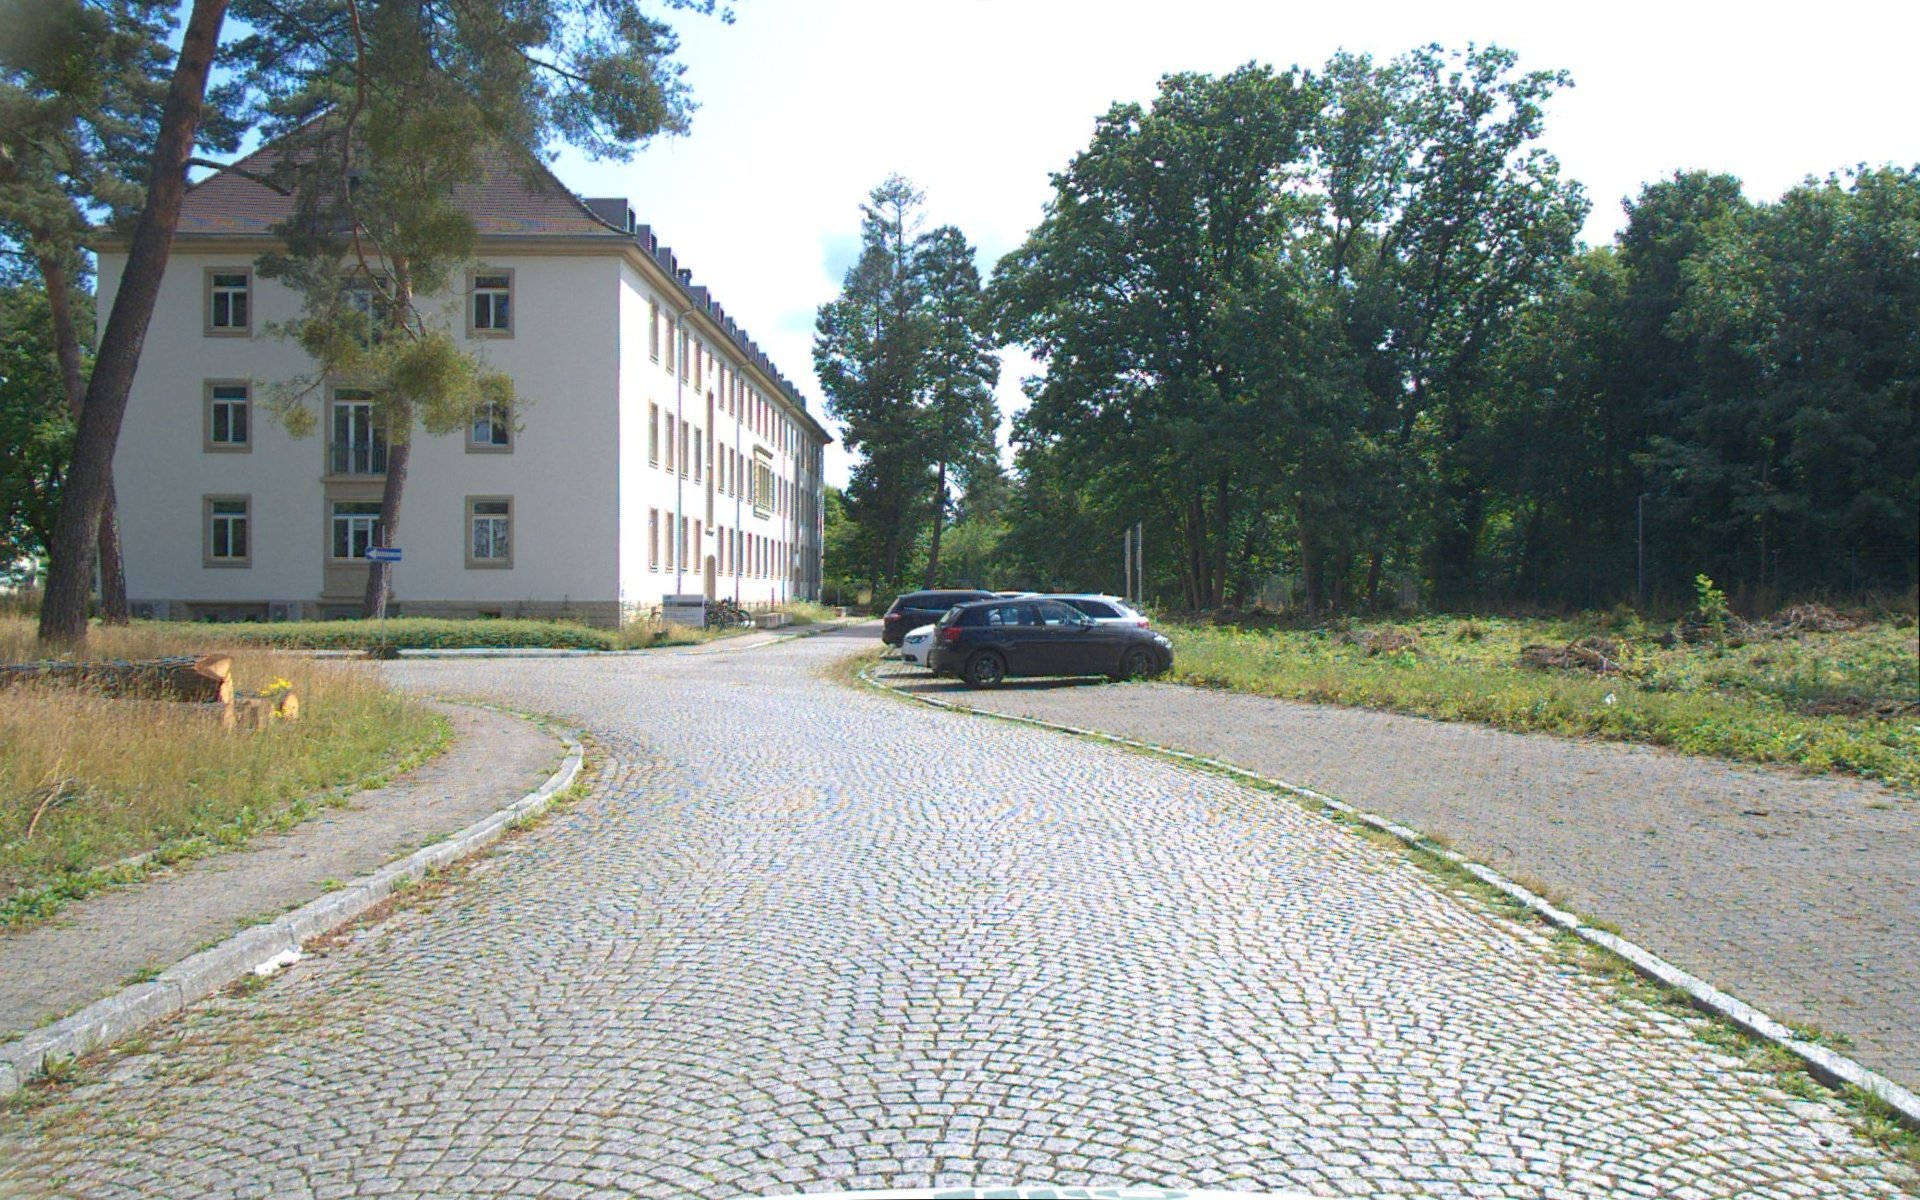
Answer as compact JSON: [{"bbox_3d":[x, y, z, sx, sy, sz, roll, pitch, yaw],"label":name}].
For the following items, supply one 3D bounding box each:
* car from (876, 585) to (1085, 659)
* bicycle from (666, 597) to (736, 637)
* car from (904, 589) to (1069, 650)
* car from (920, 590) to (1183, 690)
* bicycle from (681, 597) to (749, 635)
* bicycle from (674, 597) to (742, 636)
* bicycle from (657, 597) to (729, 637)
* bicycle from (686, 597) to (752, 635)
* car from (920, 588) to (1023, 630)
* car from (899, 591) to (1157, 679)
[{"bbox_3d":[0.460,0.511,38.909,4.754,1.580,1.879,-1,0,-1],"label":"car"},{"bbox_3d":[-8.460,0.551,54.139,2.176,1.282,0.623,0,0,2],"label":"bicycle"},{"bbox_3d":[0.685,0.517,44.426,4.309,1.510,1.765,-1,0,-1],"label":"car"},{"bbox_3d":[1.526,0.649,28.408,4.243,1.526,1.827,-1,1,-8],"label":"car"},{"bbox_3d":[-8.285,0.547,55.932,2.176,1.282,0.623,0,0,2],"label":"bicycle"},{"bbox_3d":[-8.381,0.553,55.026,2.175,1.282,0.623,0,0,6],"label":"bicycle"},{"bbox_3d":[-8.595,0.557,53.286,2.175,1.282,0.623,0,0,6],"label":"bicycle"},{"bbox_3d":[-8.298,0.545,56.941,2.176,1.282,0.623,0,0,2],"label":"bicycle"},{"bbox_3d":[0.497,0.369,67.040,4.100,1.570,1.820,-1,-1,2],"label":"car"},{"bbox_3d":[1.253,0.635,31.559,4.763,1.498,1.874,-1,1,-1],"label":"car"}]
